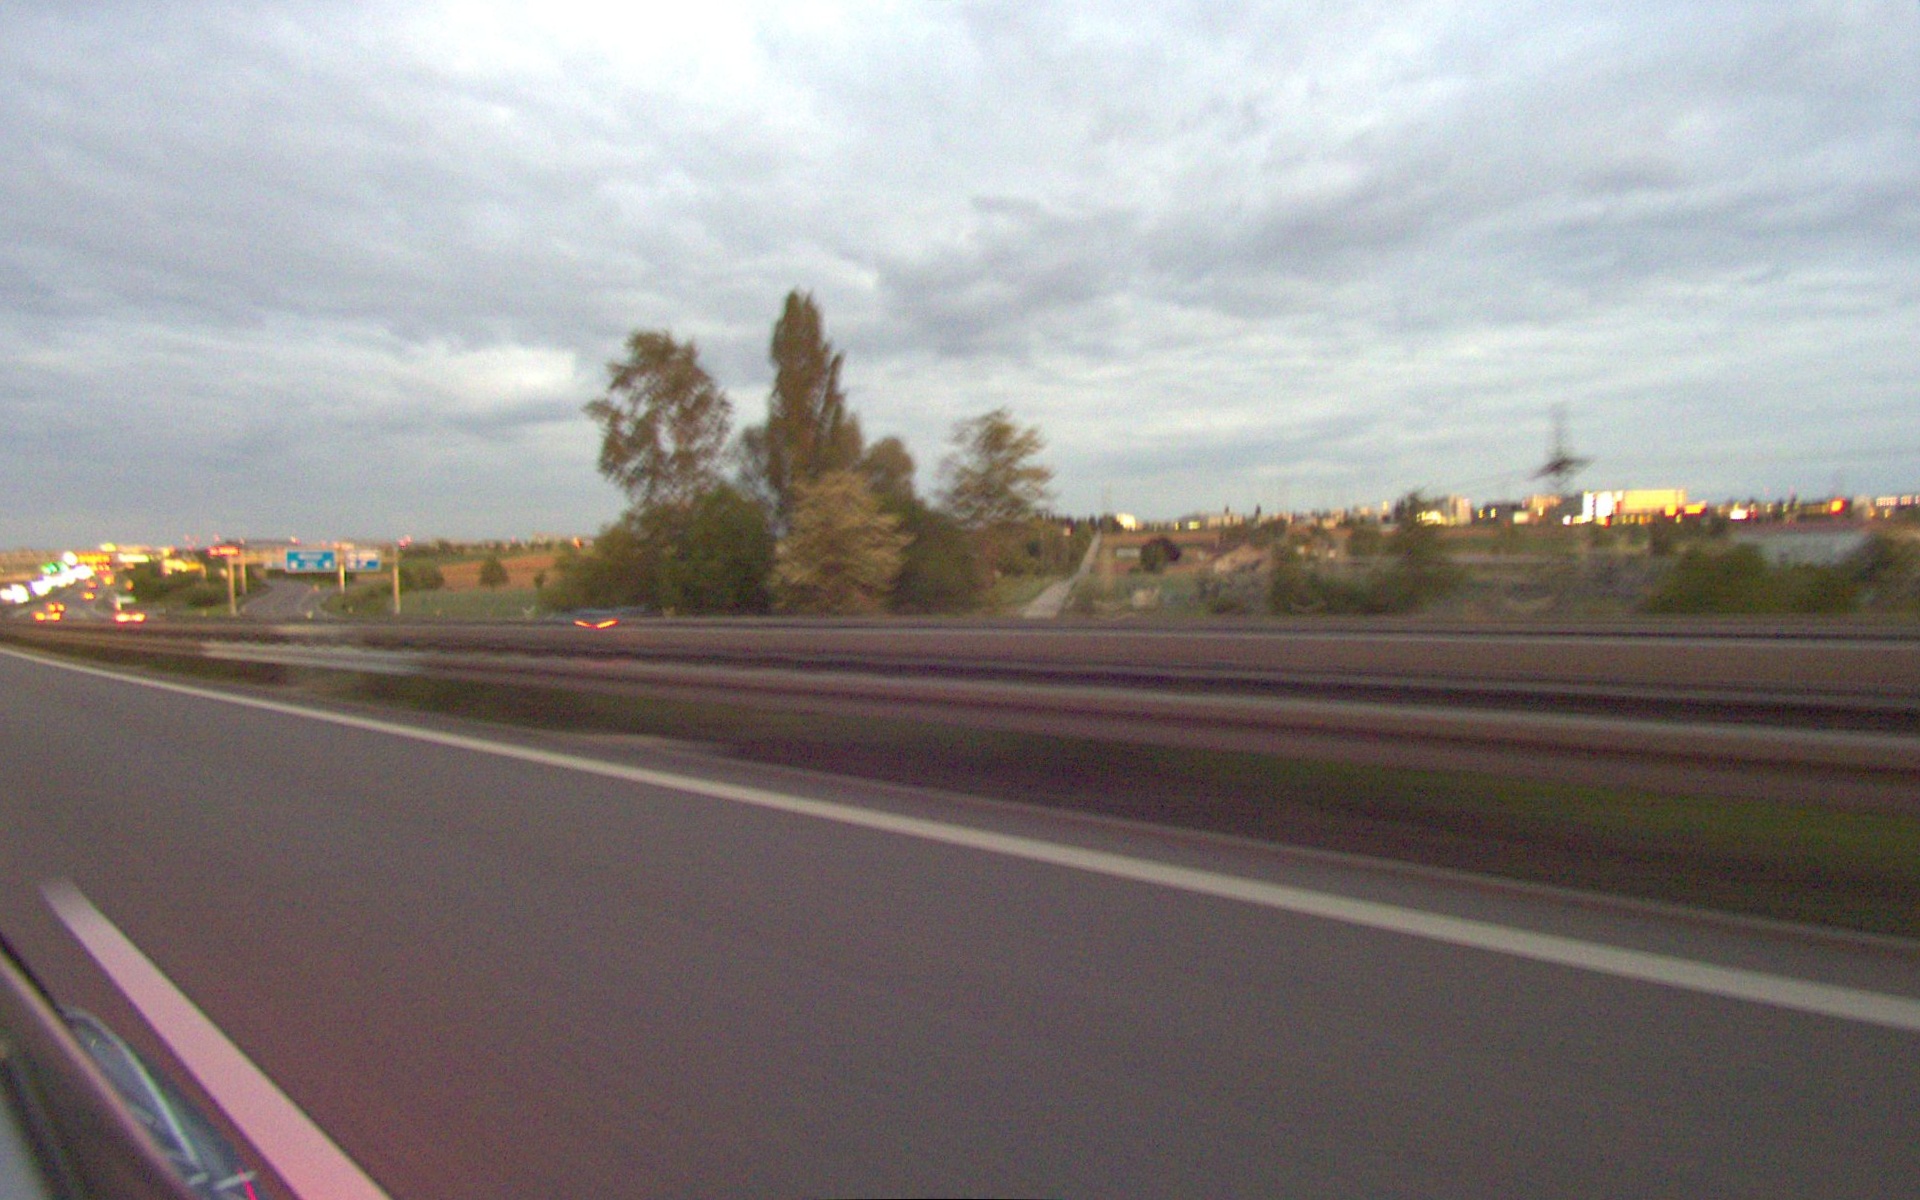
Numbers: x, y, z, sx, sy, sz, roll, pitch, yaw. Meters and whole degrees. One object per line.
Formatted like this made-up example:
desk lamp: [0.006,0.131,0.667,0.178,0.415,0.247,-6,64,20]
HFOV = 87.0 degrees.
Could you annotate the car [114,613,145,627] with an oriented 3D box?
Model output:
car: [-77.337,1.847,94.215,4.182,1.236,1.703,-1,0,43]

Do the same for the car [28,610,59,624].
car: [-98.546,1.848,108.762,4.327,1.414,1.973,-1,0,41]

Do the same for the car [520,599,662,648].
car: [-11.684,0.727,31.909,4.791,1.414,1.975,-1,0,38]
